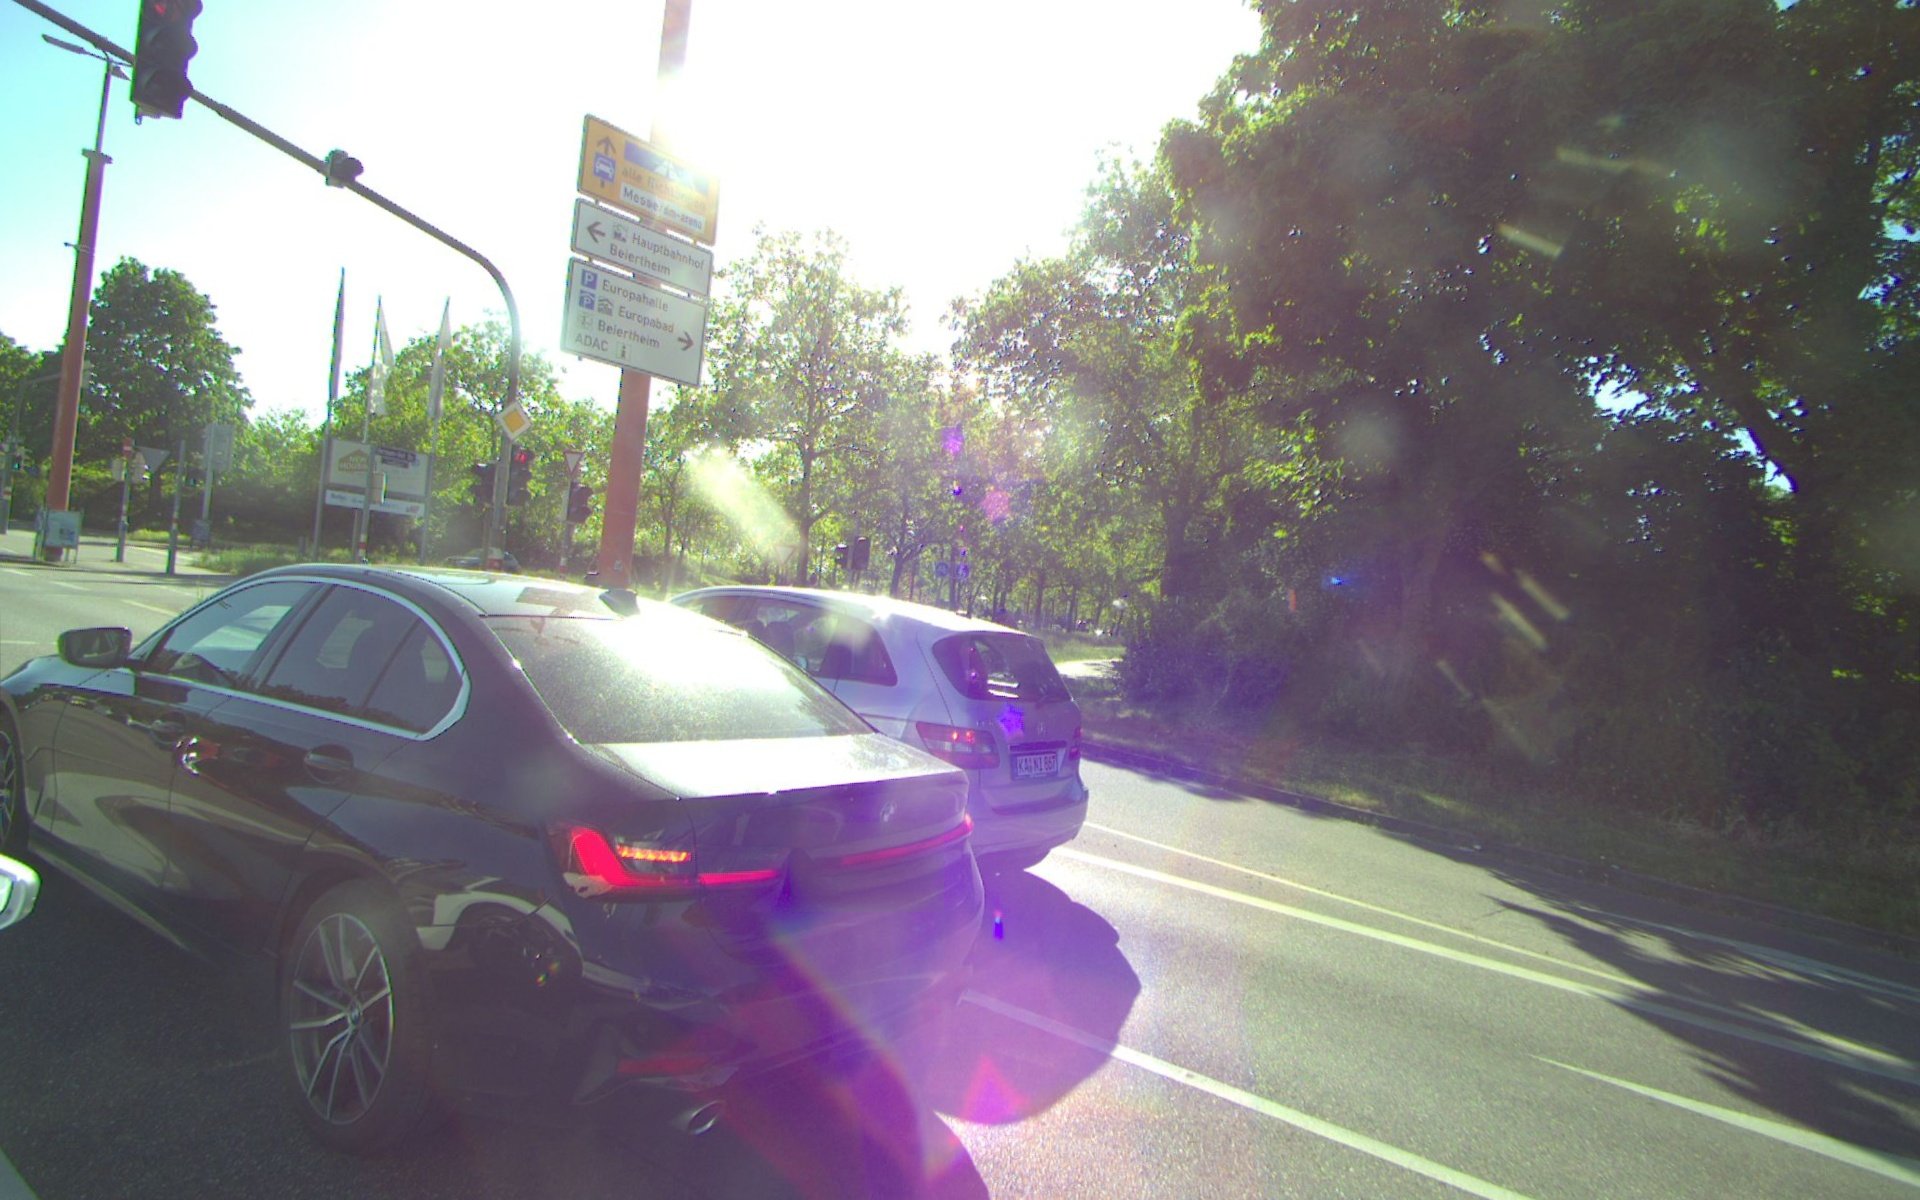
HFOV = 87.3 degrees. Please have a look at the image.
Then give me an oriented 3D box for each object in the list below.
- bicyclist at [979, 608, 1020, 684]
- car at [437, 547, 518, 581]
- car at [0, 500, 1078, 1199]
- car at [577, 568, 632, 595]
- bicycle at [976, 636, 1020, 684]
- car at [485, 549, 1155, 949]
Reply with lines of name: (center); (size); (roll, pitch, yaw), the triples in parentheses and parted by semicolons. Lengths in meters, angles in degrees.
bicyclist: (0.984, 1.129, 24.960); (0.722, 1.763, 0.997); (7, 0, 8)
car: (-28.751, -2.125, 60.115); (1.751, 1.503, 4.331); (7, -1, 17)
car: (-1.995, 0.543, 3.825); (4.371, 1.415, 1.871); (7, 0, 33)
car: (-25.318, -1.284, 71.776); (1.652, 1.485, 3.997); (7, -1, 14)
bicycle: (0.960, 1.465, 25.063); (0.709, 1.070, 1.833); (7, -1, 11)
car: (-1.013, 0.706, 6.478); (3.963, 1.597, 1.741); (7, 0, 33)
